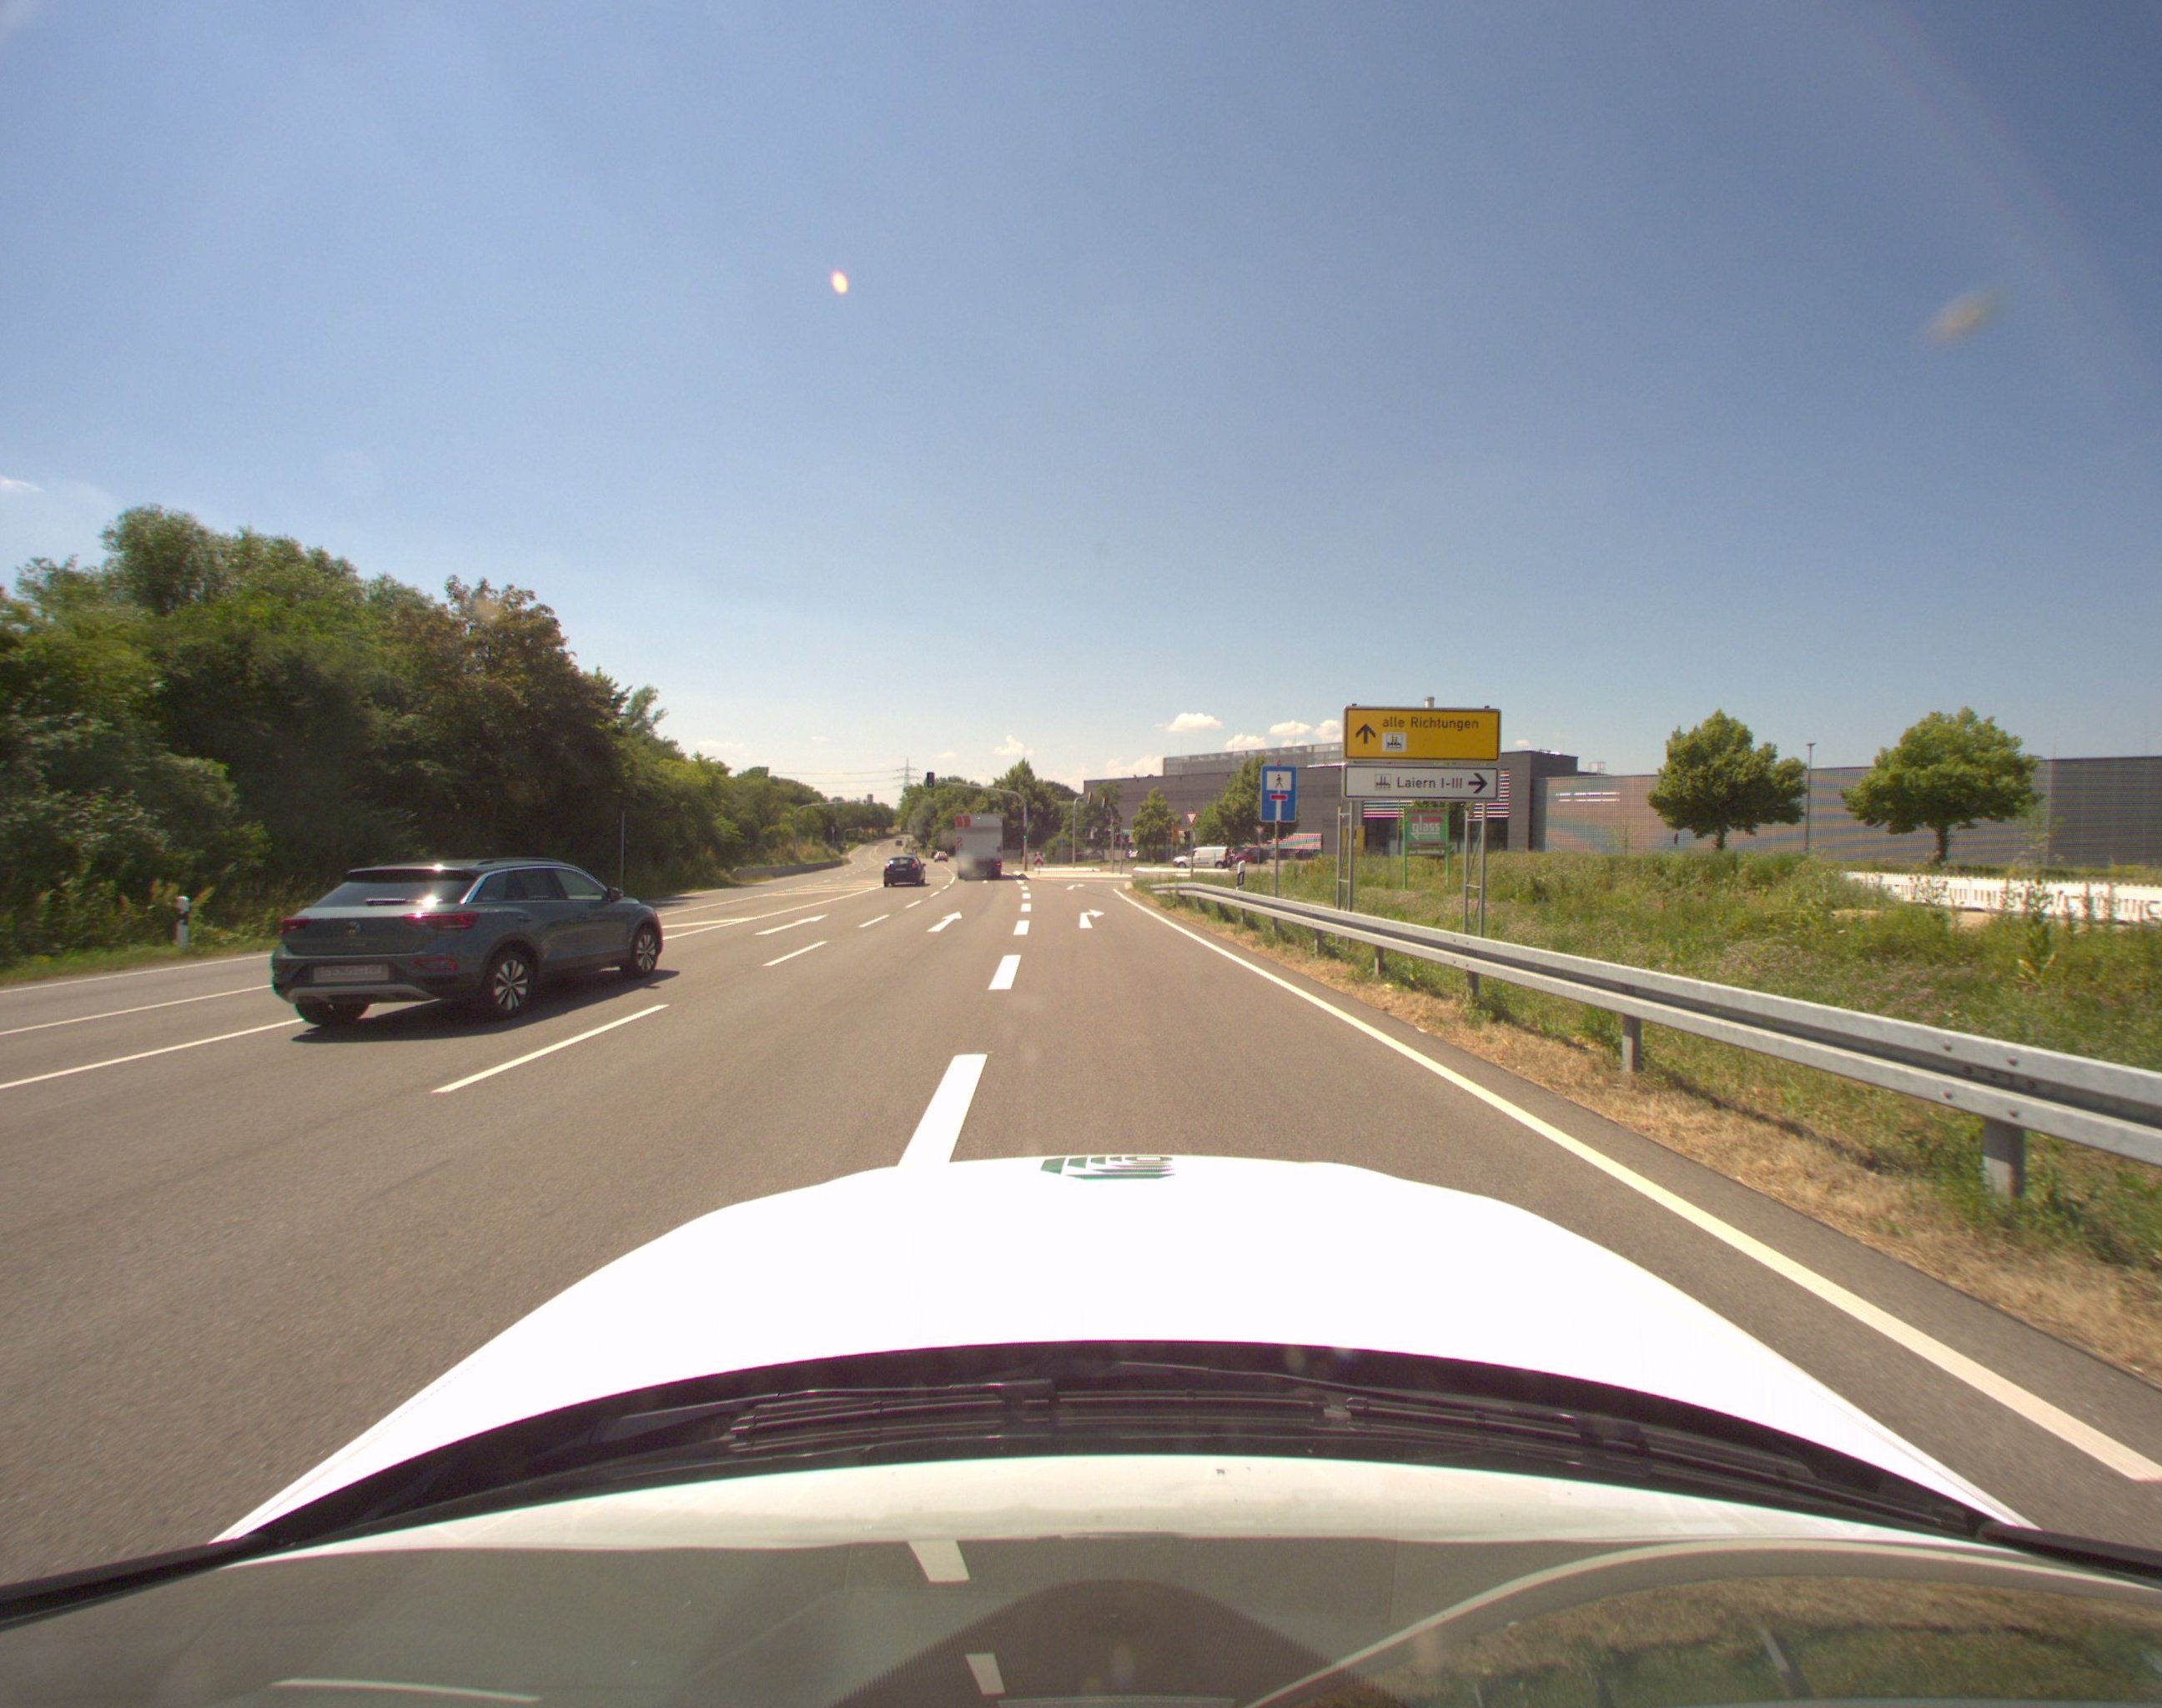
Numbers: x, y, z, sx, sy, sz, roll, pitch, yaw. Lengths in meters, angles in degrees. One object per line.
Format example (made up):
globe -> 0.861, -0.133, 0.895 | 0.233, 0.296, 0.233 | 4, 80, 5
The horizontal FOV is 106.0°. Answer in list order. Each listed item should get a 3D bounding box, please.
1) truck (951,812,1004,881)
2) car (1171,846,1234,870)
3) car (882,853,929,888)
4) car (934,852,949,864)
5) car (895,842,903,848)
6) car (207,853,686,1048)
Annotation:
truck -> -6.173, -0.468, 48.333 | 2.802, 3.710, 9.083 | 0, 1, -8
car -> 9.958, 0.345, 66.533 | 4.706, 1.932, 2.164 | -1, 0, 19
car -> -8.416, 0.769, 39.386 | 1.650, 1.493, 4.201 | 0, 1, -5
car -> -20.930, 0.530, 121.816 | 1.946, 1.664, 3.983 | 2, 0, -13
car -> -54.912, -2.784, 245.443 | 1.993, 1.684, 3.988 | -1, 0, -8
car -> -6.387, 0.805, 9.031 | 1.829, 1.586, 4.390 | -1, 0, 0
